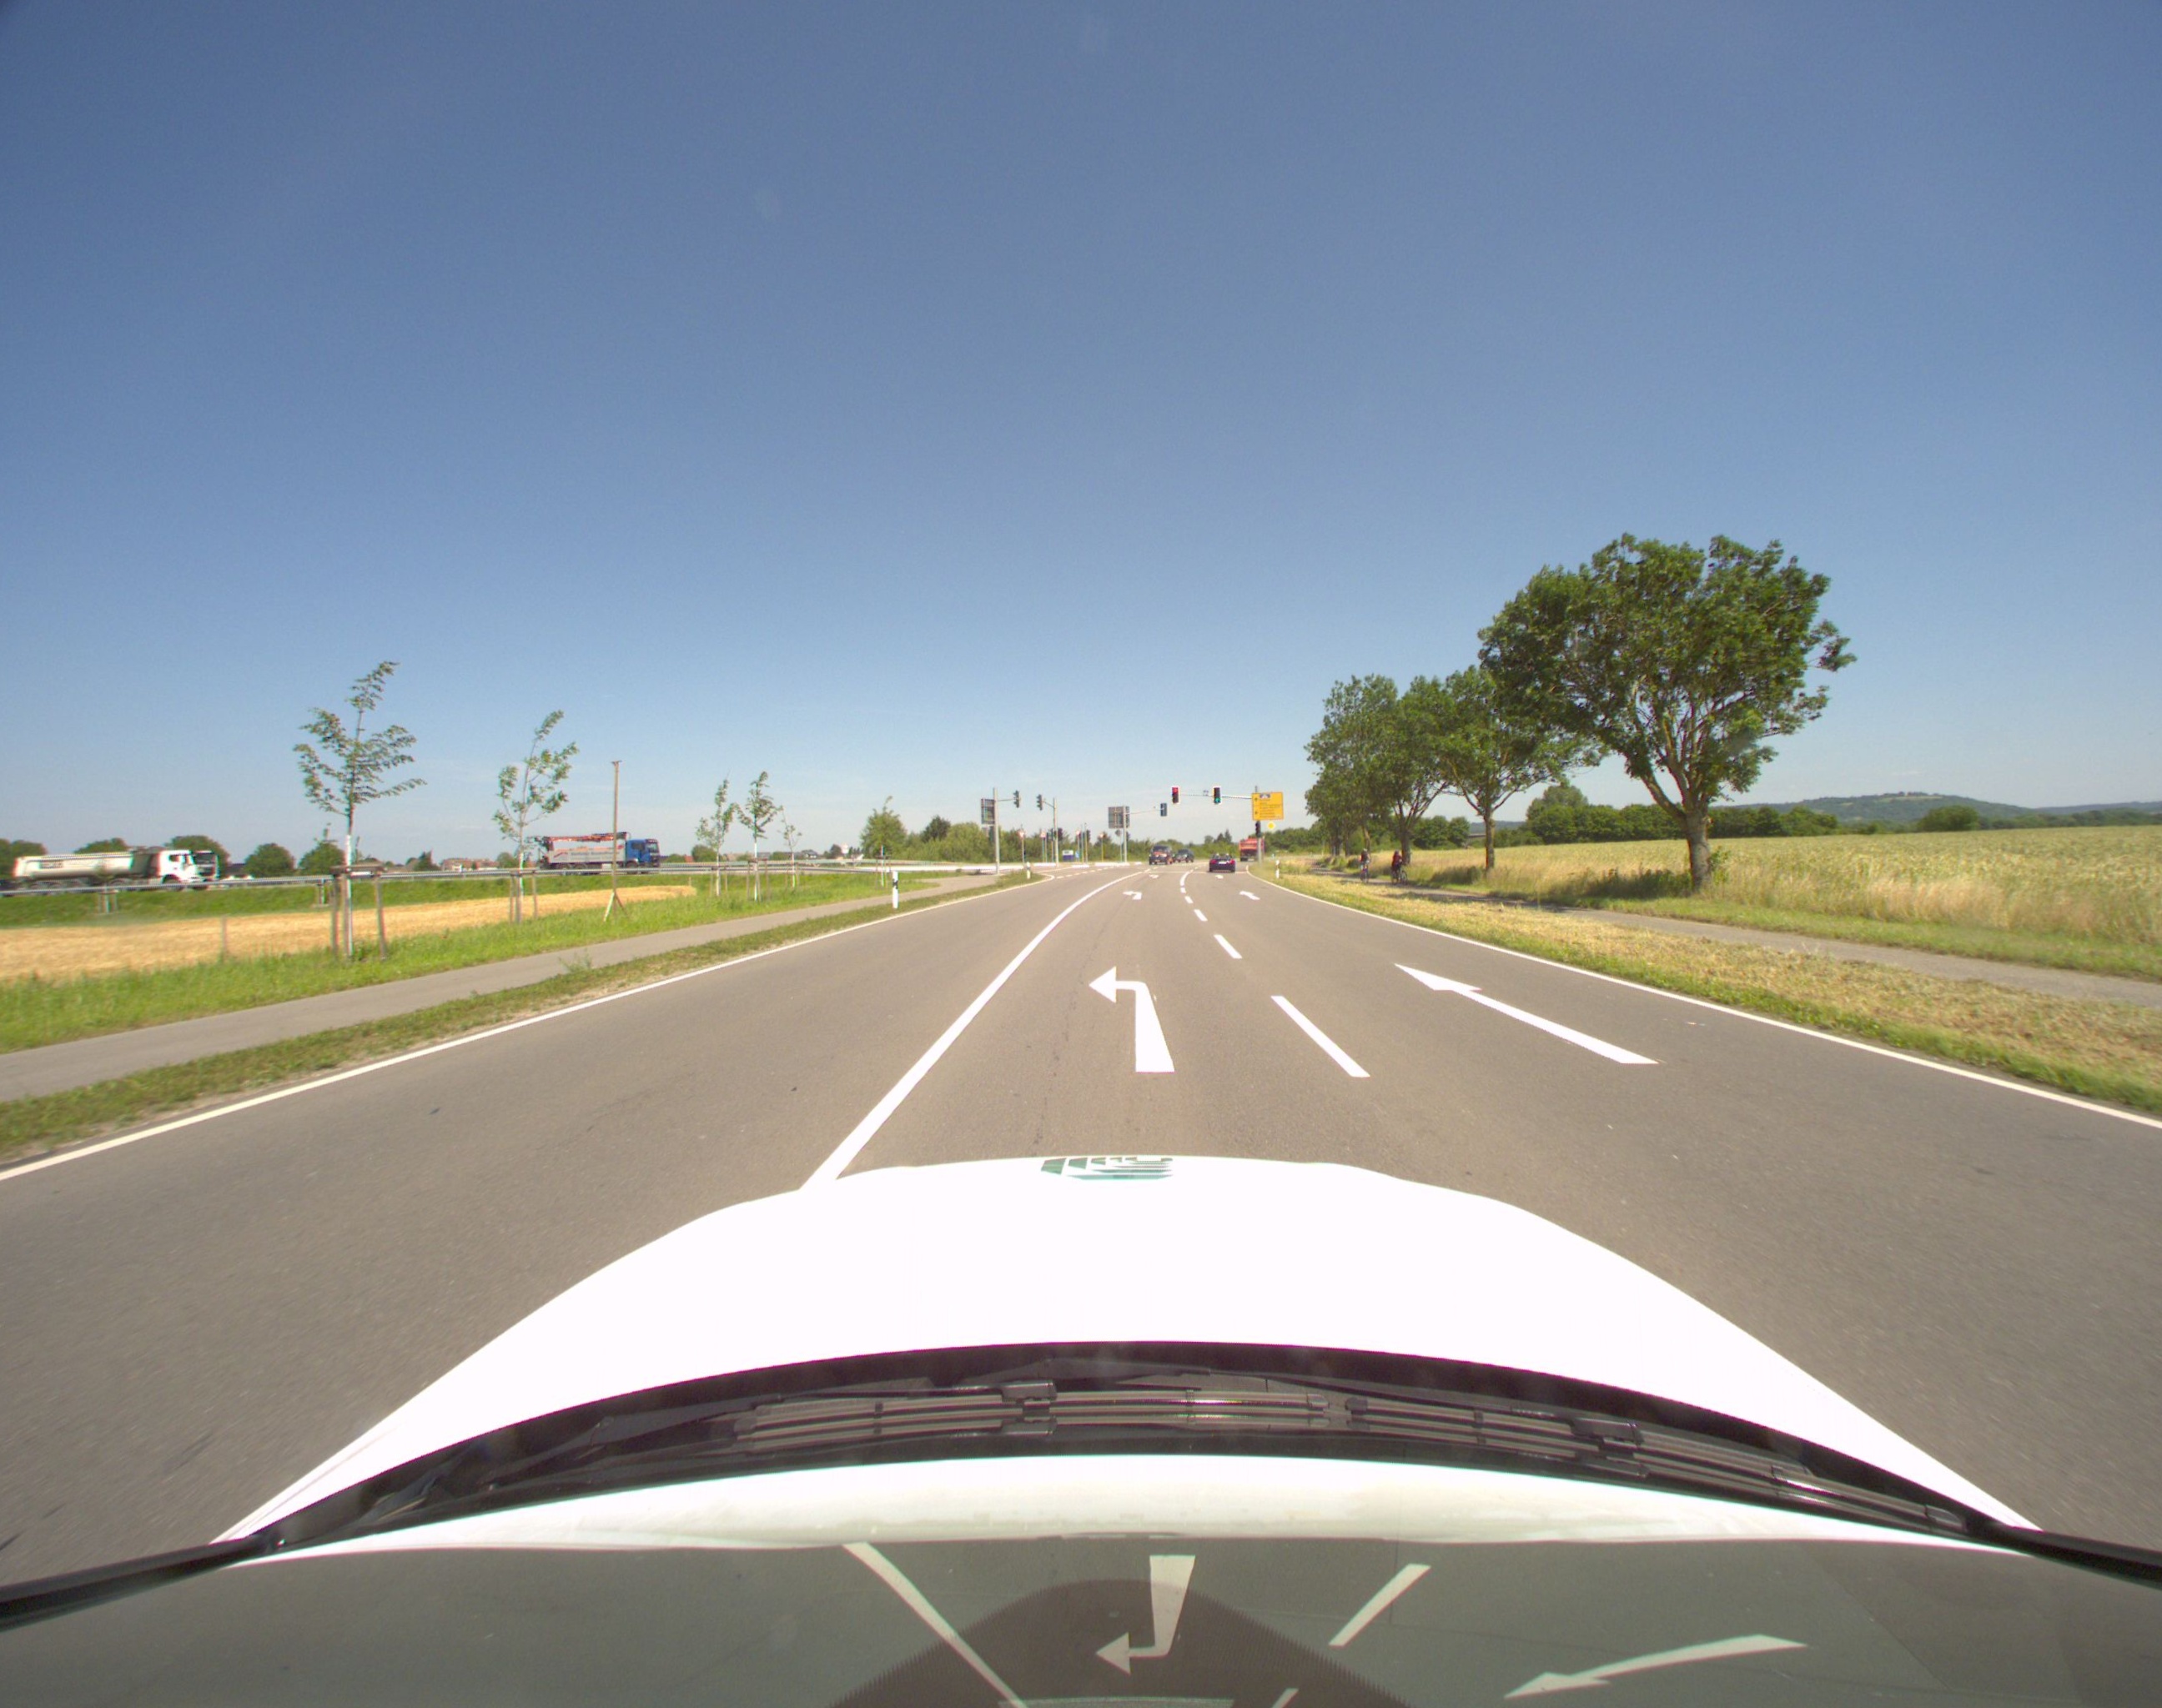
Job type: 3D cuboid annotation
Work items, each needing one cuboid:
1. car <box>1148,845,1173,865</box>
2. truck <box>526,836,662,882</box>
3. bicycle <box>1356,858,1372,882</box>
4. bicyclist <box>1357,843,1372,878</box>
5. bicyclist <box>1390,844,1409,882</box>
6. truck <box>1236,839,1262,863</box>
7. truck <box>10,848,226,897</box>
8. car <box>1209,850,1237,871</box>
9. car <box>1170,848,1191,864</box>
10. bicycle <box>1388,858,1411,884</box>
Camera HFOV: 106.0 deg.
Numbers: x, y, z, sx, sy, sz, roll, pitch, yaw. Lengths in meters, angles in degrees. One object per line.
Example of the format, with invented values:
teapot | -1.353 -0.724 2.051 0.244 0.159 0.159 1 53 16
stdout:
car | 8.134 0.116 82.812 1.917 1.978 4.700 -1 0 12
truck | -42.545 0.385 71.383 10.058 3.793 2.623 -1 0 -4
bicycle | 14.674 0.803 42.307 0.601 1.176 2.059 2 0 15
bicyclist | 14.711 0.329 42.314 0.583 1.734 1.176 3 1 15
bicyclist | 15.436 0.407 39.449 0.624 1.783 0.981 3 1 11
truck | 22.859 -0.345 110.513 2.692 3.053 8.201 -1 -1 17
truck | -76.435 1.407 64.906 11.985 3.614 2.974 -1 0 -9
car | 9.781 0.468 55.959 1.735 1.376 3.691 0 -1 12
car | 11.934 0.212 97.419 1.917 1.739 4.906 -1 0 12
bicycle | 15.399 0.820 39.418 0.694 1.210 2.057 1 0 11
